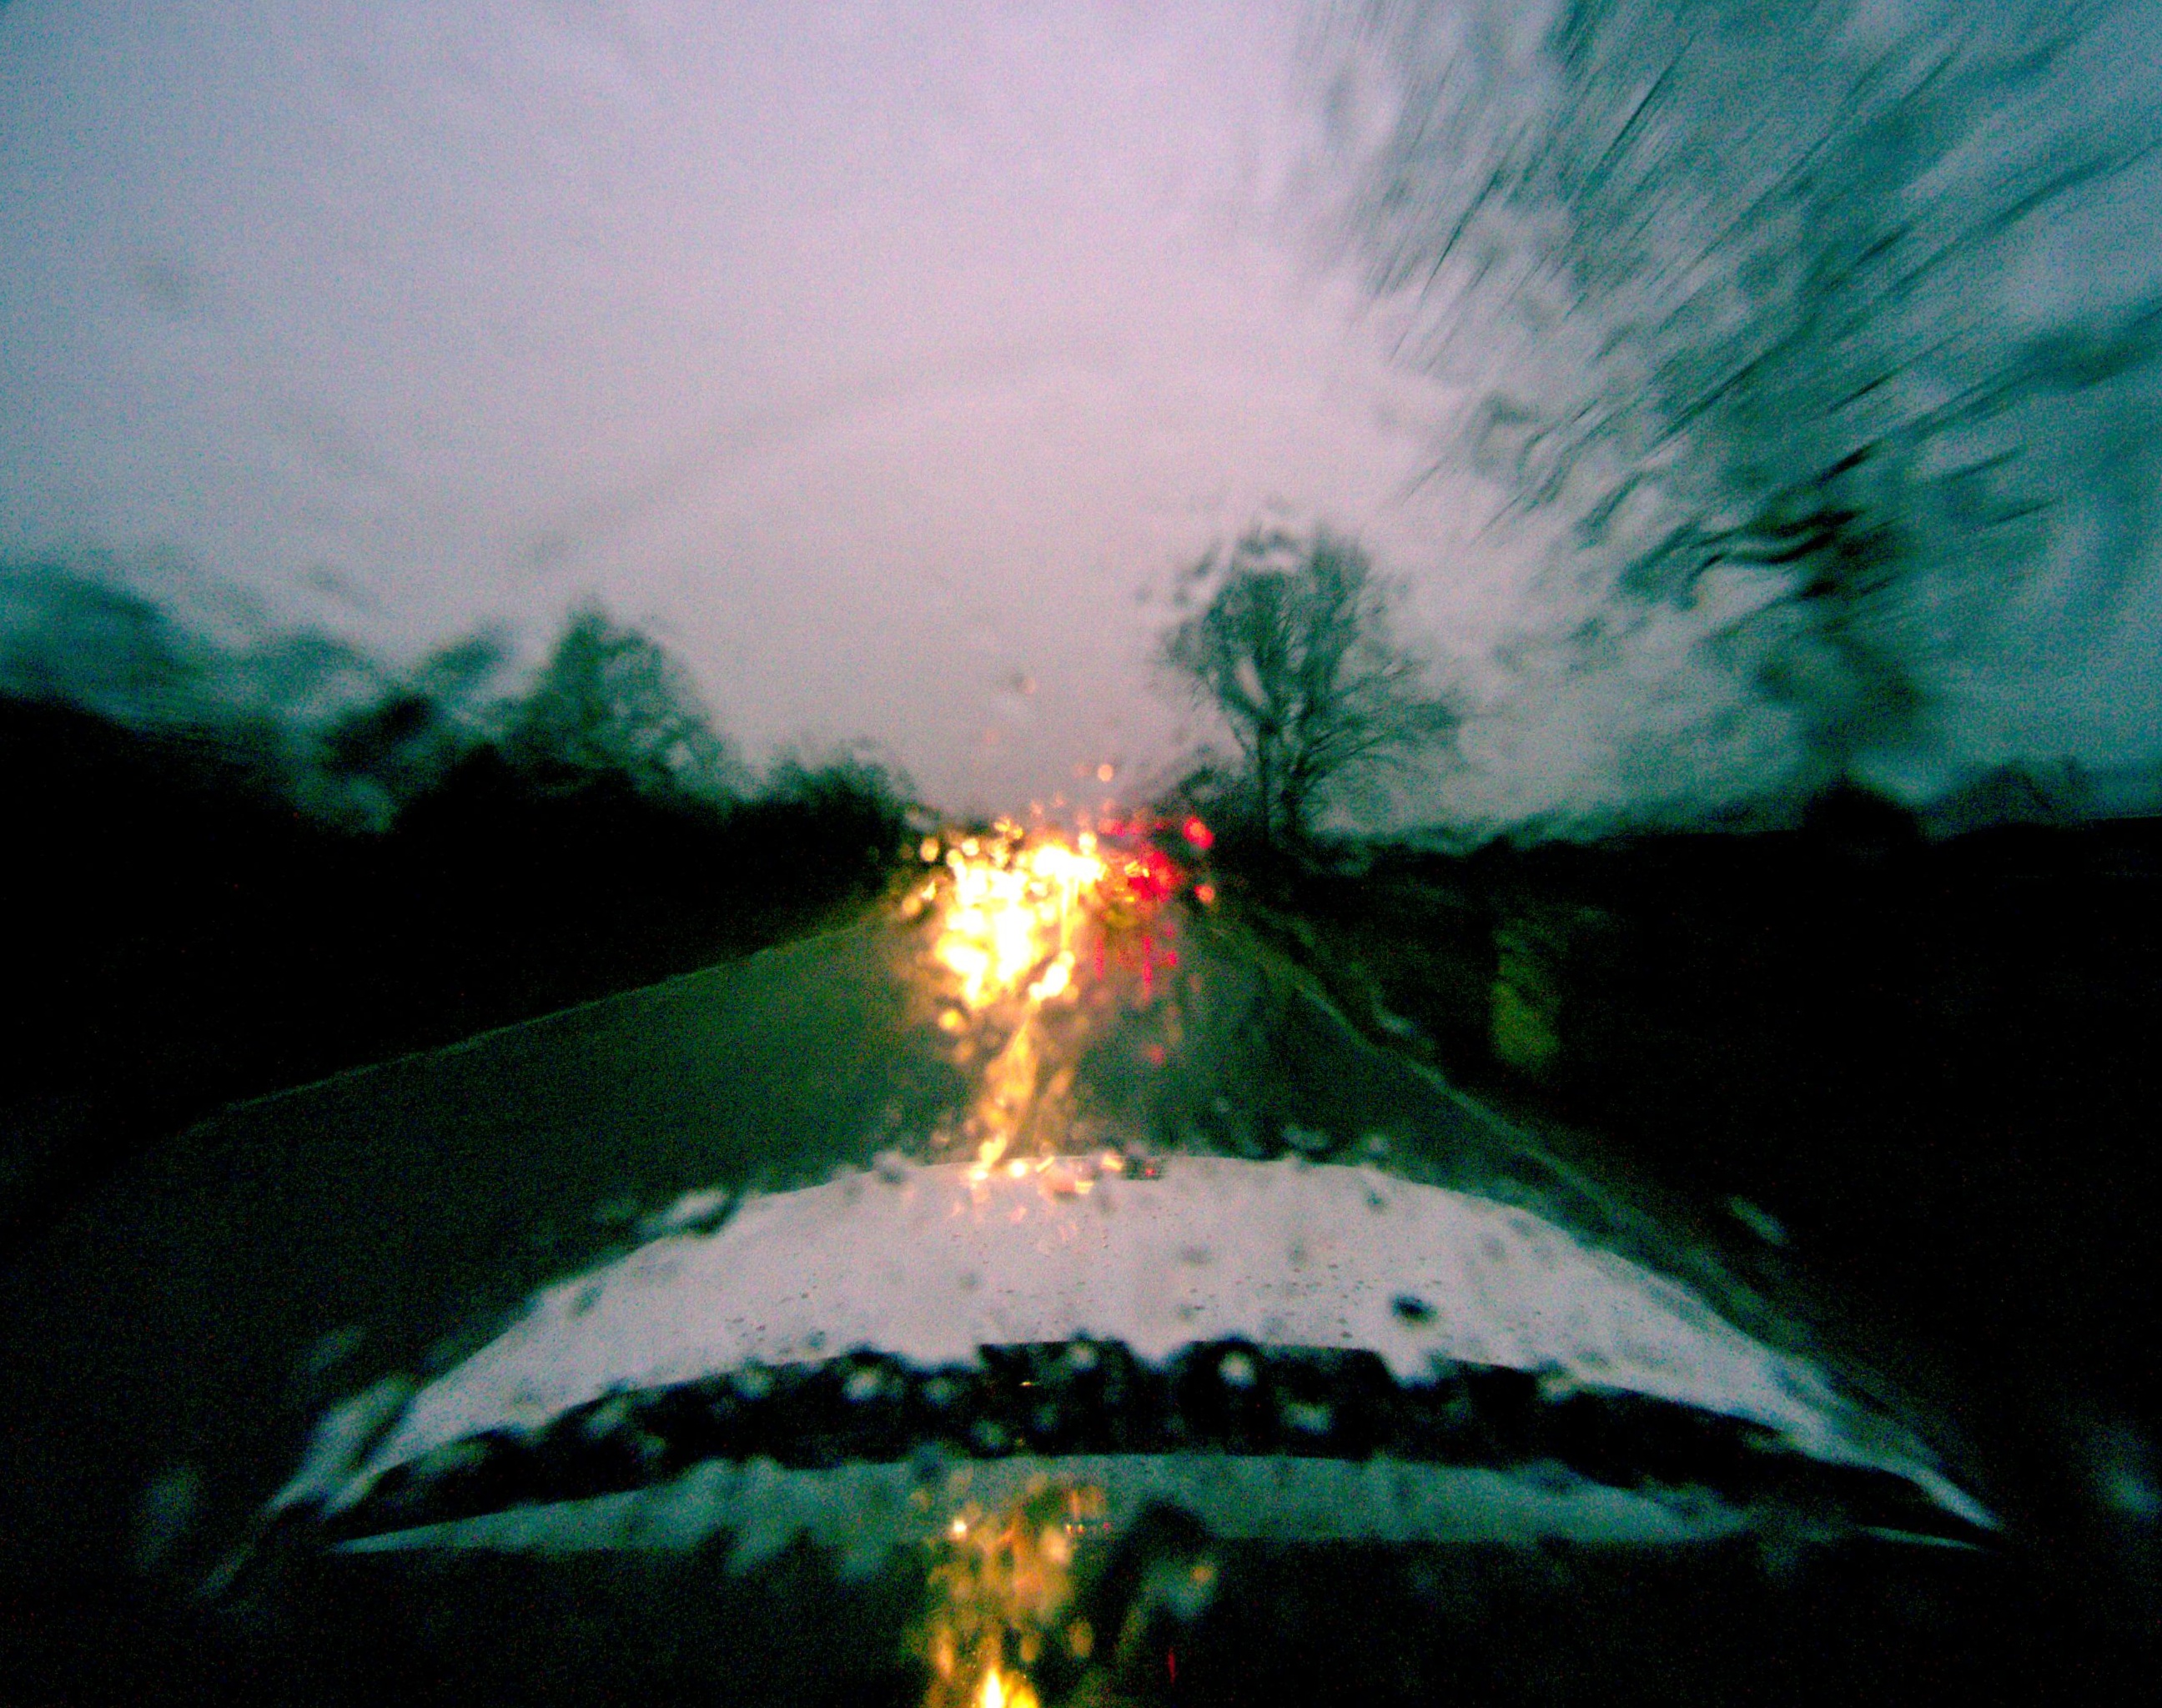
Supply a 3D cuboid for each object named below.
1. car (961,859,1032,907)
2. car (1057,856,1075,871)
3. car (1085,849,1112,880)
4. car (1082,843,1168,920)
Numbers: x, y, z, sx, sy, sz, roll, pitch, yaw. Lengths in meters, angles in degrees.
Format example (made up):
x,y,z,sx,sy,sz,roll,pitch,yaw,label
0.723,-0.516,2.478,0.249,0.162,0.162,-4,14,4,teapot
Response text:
x,y,z,sx,sy,sz,roll,pitch,yaw,label
-2.705,0.907,26.696,1.810,1.441,3.457,0,0,2,car
-1.628,1.020,87.675,1.744,1.474,3.893,-1,0,2,car
1.154,0.656,52.573,1.568,1.875,3.712,0,0,3,car
1.130,0.650,20.995,1.985,1.784,4.003,0,0,3,car
